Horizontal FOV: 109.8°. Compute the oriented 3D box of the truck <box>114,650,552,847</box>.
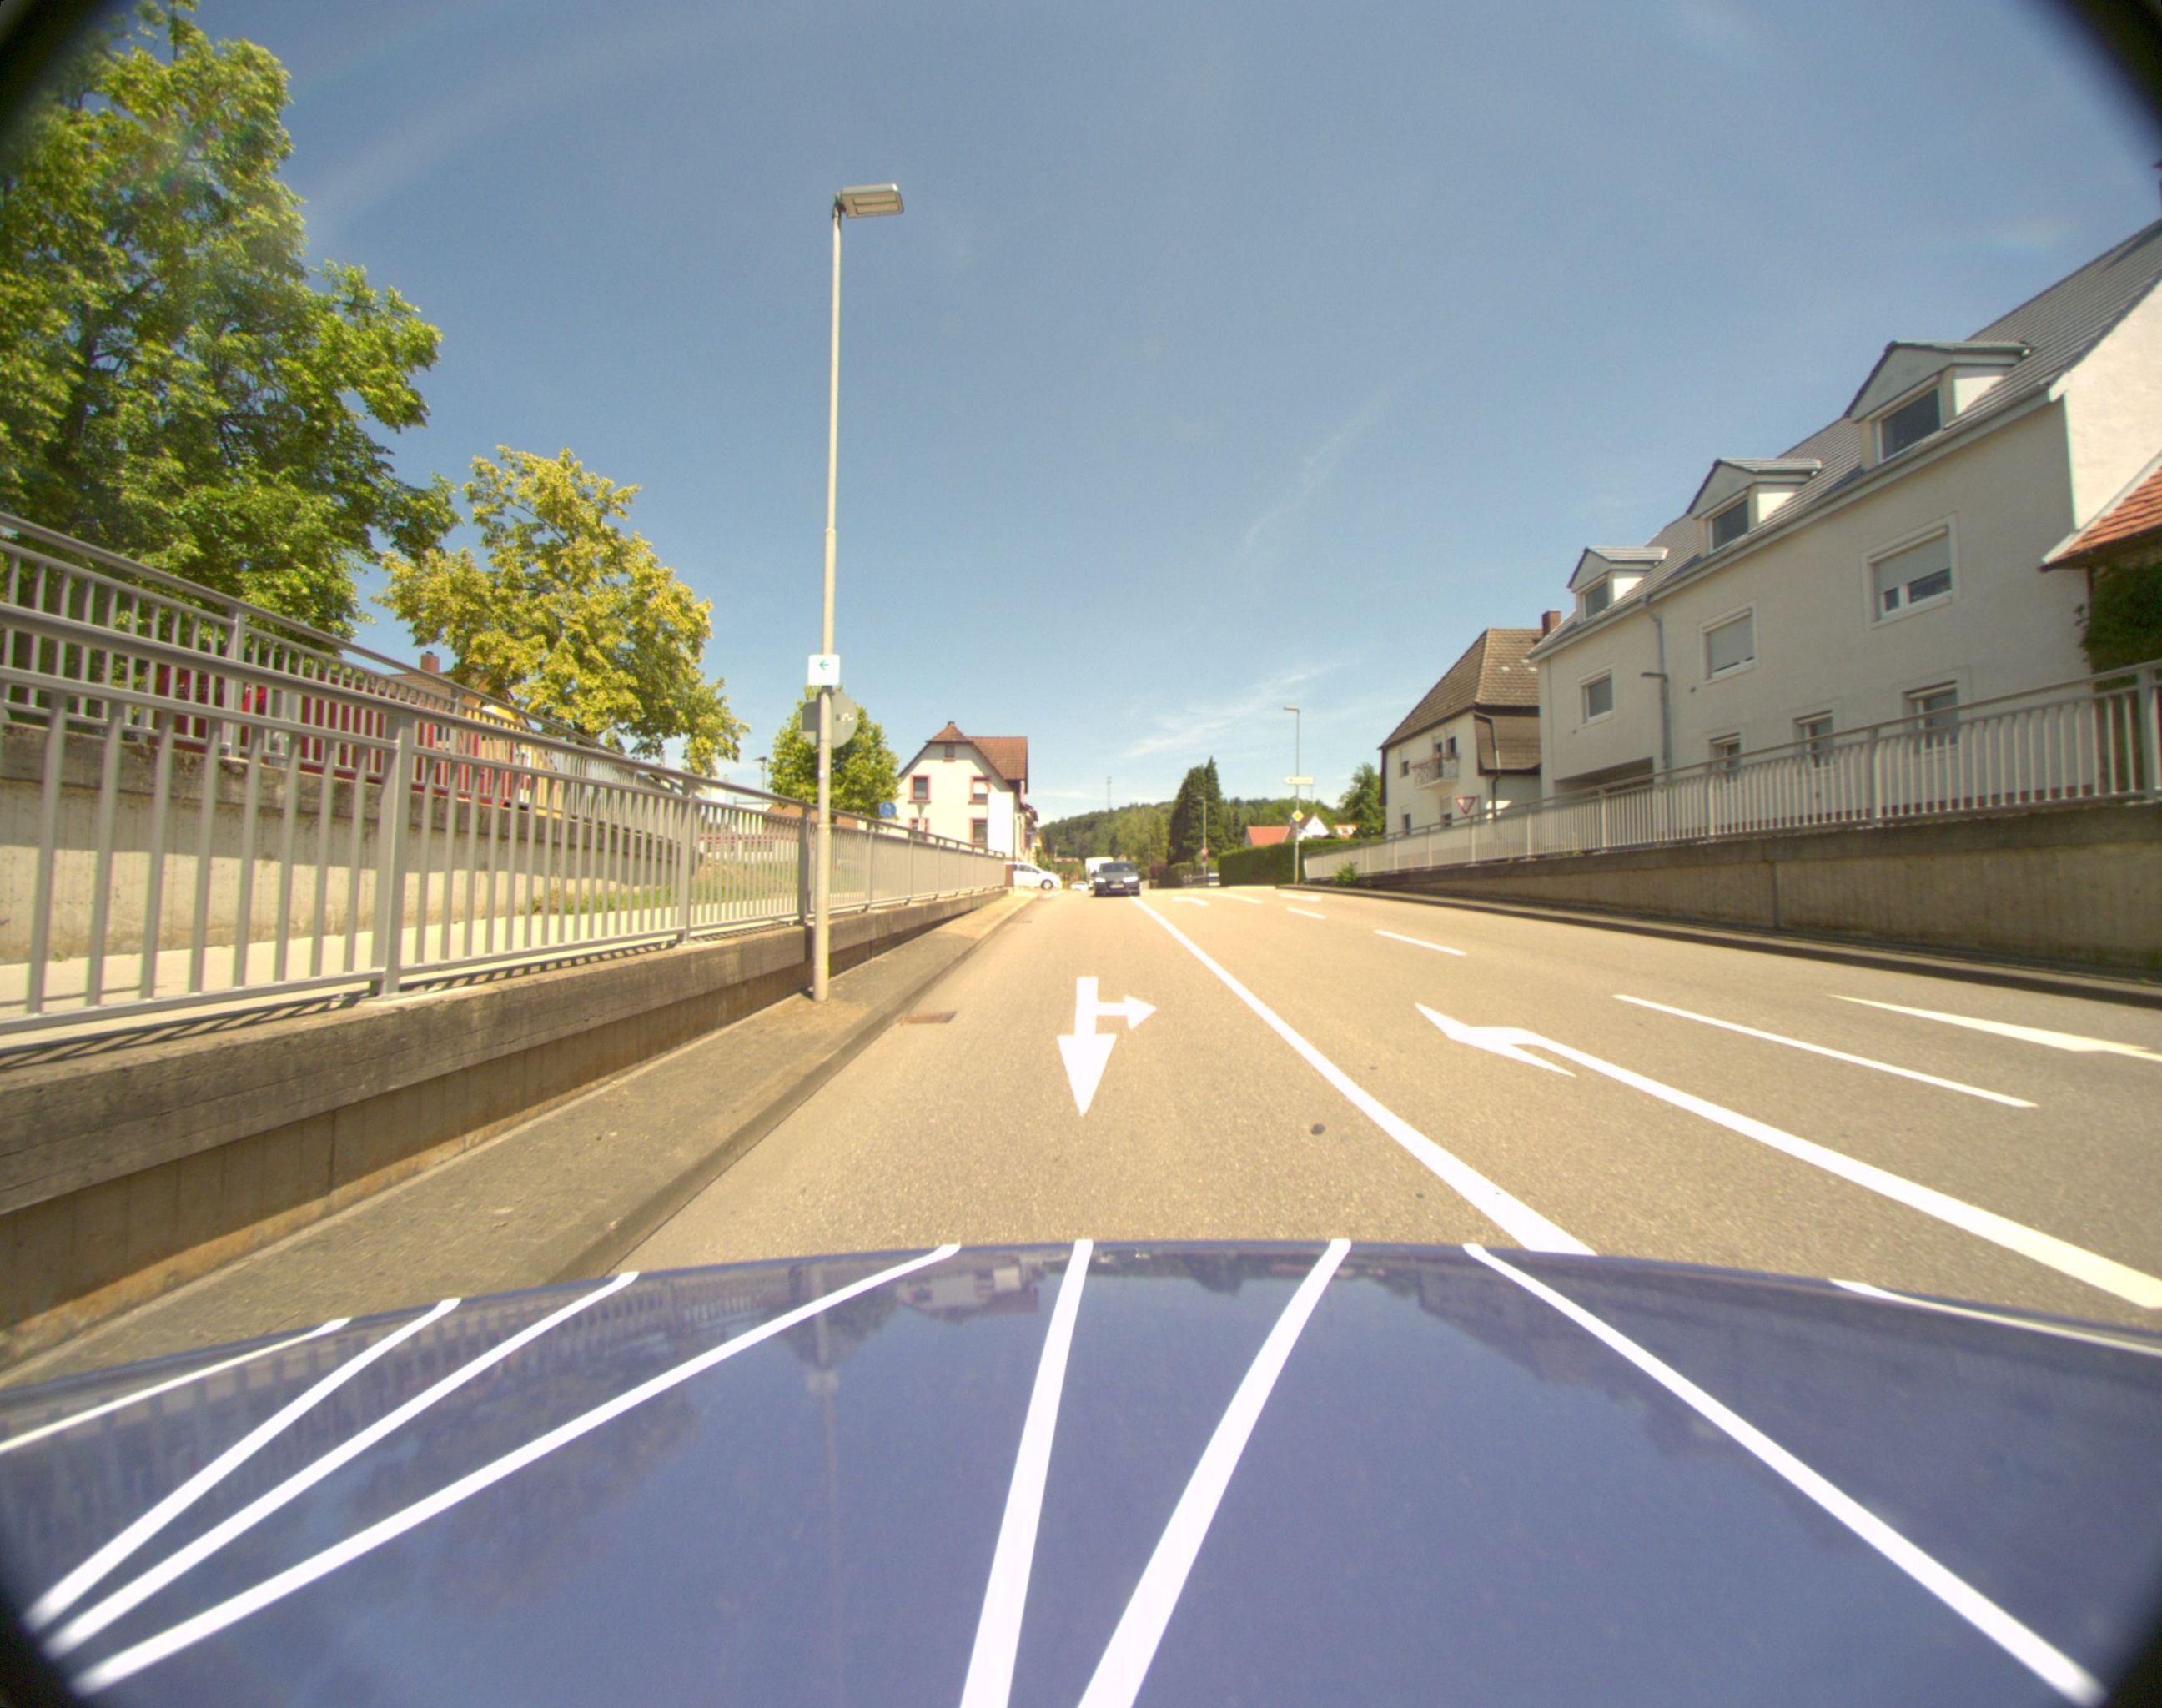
[{"bbox_3d":[-11.849,-1.448,12.820,2.137,2.319,5.262,-1,-3,0],"label":"truck"}]

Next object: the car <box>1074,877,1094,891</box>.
[{"bbox_3d":[0.355,3.623,90.920,1.998,1.509,4.147,4,-3,4],"label":"car"}]

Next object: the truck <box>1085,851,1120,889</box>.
[{"bbox_3d":[2.002,1.693,74.555,3.149,3.465,8.275,-1,-3,0],"label":"truck"}]

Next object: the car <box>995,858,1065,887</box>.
[{"bbox_3d":[-2.792,1.026,41.253,3.681,1.469,1.775,1,-1,-5],"label":"car"}]

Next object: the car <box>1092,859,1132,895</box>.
[{"bbox_3d":[1.888,1.389,47.892,1.999,2.002,4.546,-2,1,-3],"label":"car"}]

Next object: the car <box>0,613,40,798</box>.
[{"bbox_3d":[-10.904,-1.252,5.641,3.996,1.489,1.749,0,-3,2],"label":"car"}]

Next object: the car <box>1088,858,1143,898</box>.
[{"bbox_3d":[1.320,0.936,30.516,1.864,1.441,4.000,-2,-1,-2],"label":"car"}]

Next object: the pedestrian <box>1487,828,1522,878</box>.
[{"bbox_3d":[15.044,-0.042,27.009,0.729,1.719,0.856,-2,0,-3],"label":"pedestrian"}]
